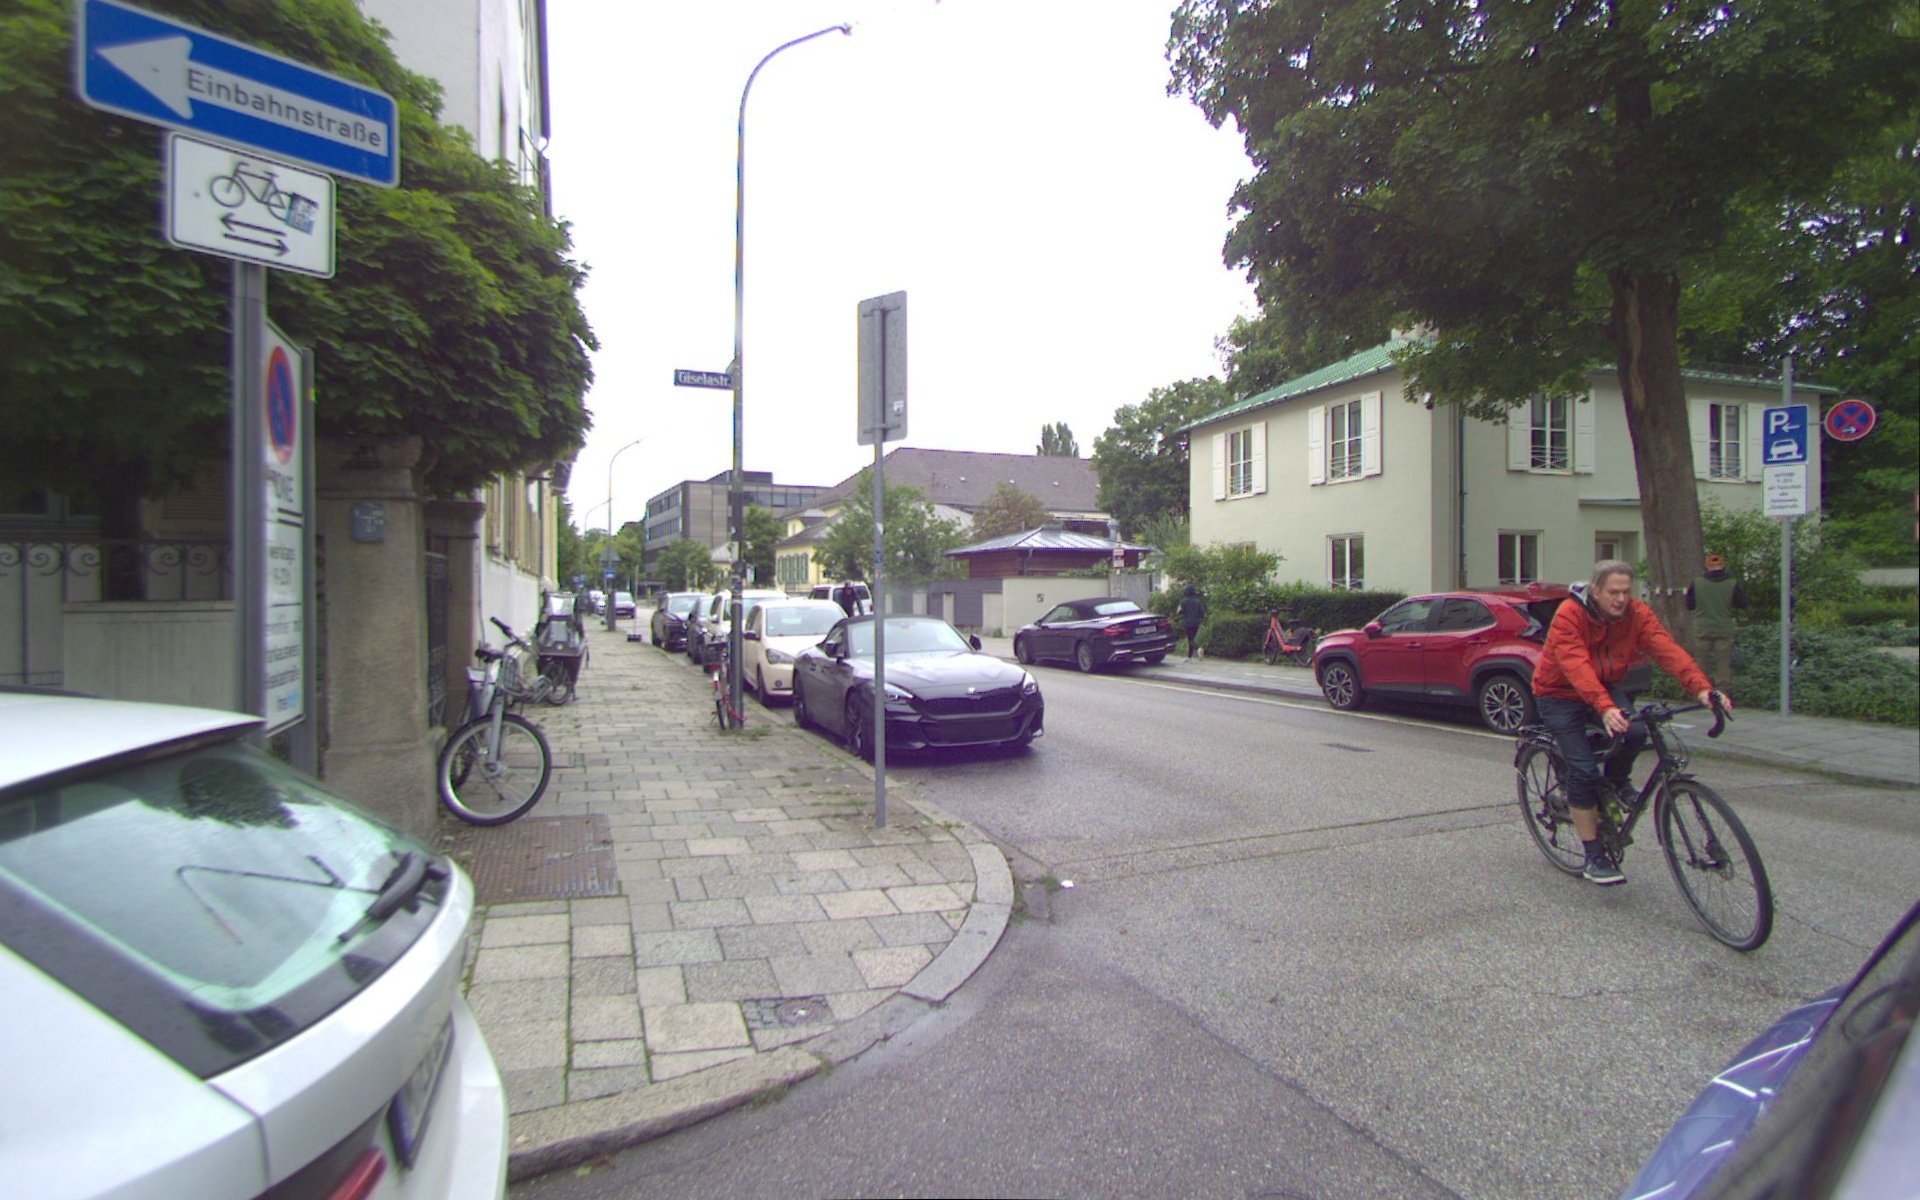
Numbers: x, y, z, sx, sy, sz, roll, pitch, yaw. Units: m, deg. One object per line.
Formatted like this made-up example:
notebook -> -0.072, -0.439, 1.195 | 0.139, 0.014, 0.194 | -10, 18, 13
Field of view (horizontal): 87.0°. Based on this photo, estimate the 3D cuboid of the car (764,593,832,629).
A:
car -> -7.477, 0.468, 46.411 | 1.854, 1.563, 4.704 | 0, 0, -25

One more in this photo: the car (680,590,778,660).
car -> -5.780, 0.549, 24.927 | 1.806, 1.551, 4.424 | 1, 0, -20

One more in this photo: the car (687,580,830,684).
car -> -4.078, 0.529, 19.889 | 1.958, 1.728, 4.543 | -2, 1, -21

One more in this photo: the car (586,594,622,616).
car -> -25.604, 0.311, 72.666 | 1.959, 1.478, 4.965 | -2, 1, -24

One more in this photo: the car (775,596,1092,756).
car -> -0.563, 0.665, 11.042 | 1.964, 1.336, 4.604 | 2, -1, -21

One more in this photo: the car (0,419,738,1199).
car -> -2.783, 0.681, 0.892 | 4.819, 1.551, 1.916 | 0, -2, -21

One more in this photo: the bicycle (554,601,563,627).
bicycle -> -18.221, 0.610, 45.901 | 0.336, 1.150, 1.762 | 0, 0, -22

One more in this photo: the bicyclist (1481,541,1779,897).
bicyclist -> 3.103, 0.498, 4.795 | 0.743, 1.501, 0.981 | -1, 1, 2

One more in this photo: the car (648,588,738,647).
car -> -7.981, 0.477, 29.918 | 1.827, 1.597, 4.908 | 1, 0, -24

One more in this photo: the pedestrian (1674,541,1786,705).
pedestrian -> 9.179, 0.254, 12.079 | 0.700, 1.875, 0.798 | -2, 1, -21

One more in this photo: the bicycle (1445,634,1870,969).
bicycle -> 3.130, 0.803, 4.852 | 0.662, 1.156, 2.010 | -1, 1, 1

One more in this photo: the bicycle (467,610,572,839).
bicycle -> -2.912, 0.709, 6.604 | 0.532, 1.241, 1.780 | 0, 1, -26

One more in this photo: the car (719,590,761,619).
car -> -13.357, 0.258, 61.287 | 1.813, 1.627, 4.752 | -2, 1, -20

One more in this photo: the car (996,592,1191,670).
car -> 2.672, 0.561, 21.601 | 1.776, 1.419, 4.933 | -2, 1, -24

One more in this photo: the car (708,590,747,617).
car -> -15.637, 0.186, 67.837 | 1.868, 1.713, 4.818 | -2, 1, -21

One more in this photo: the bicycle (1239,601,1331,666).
bicycle -> 6.059, 0.599, 18.980 | 0.638, 1.145, 2.051 | 0, 0, -15

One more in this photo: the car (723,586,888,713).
car -> -2.487, 0.643, 15.538 | 1.740, 1.565, 3.719 | -5, 2, -19

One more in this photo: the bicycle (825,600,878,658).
bicycle -> -2.469, 0.643, 22.811 | 0.706, 1.222, 1.804 | -2, 0, -21

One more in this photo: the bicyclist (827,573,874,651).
bicyclist -> -2.484, 0.266, 22.853 | 0.764, 1.688, 1.036 | -2, -1, -21

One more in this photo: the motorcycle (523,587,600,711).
motorcycle -> -5.249, 0.561, 13.265 | 0.842, 1.451, 2.712 | 0, 0, -23

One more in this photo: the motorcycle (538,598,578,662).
motorcycle -> -8.533, 0.601, 21.439 | 0.719, 1.254, 2.011 | -2, 1, -22

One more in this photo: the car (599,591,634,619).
car -> -21.735, 0.301, 63.924 | 1.958, 1.651, 5.110 | -2, 1, -20

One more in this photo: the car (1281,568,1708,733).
car -> 6.237, 0.477, 12.521 | 1.854, 1.610, 4.537 | -2, 1, -21

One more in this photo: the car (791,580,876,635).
car -> -5.188, 0.257, 40.882 | 1.932, 2.015, 5.161 | -2, 1, -24

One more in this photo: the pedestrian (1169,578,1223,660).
pedestrian -> 4.724, 0.368, 20.289 | 0.701, 1.567, 0.754 | -2, 1, -24

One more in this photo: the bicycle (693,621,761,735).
bicycle -> -2.540, 0.787, 10.981 | 0.651, 1.077, 1.942 | 0, 0, -14

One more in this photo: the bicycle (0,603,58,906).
bicycle -> -5.024, 0.681, 4.175 | 1.879, 1.292, 0.468 | -1, -1, -24

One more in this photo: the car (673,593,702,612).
car -> -22.700, 0.170, 84.140 | 1.694, 1.511, 4.470 | -2, 1, -22
